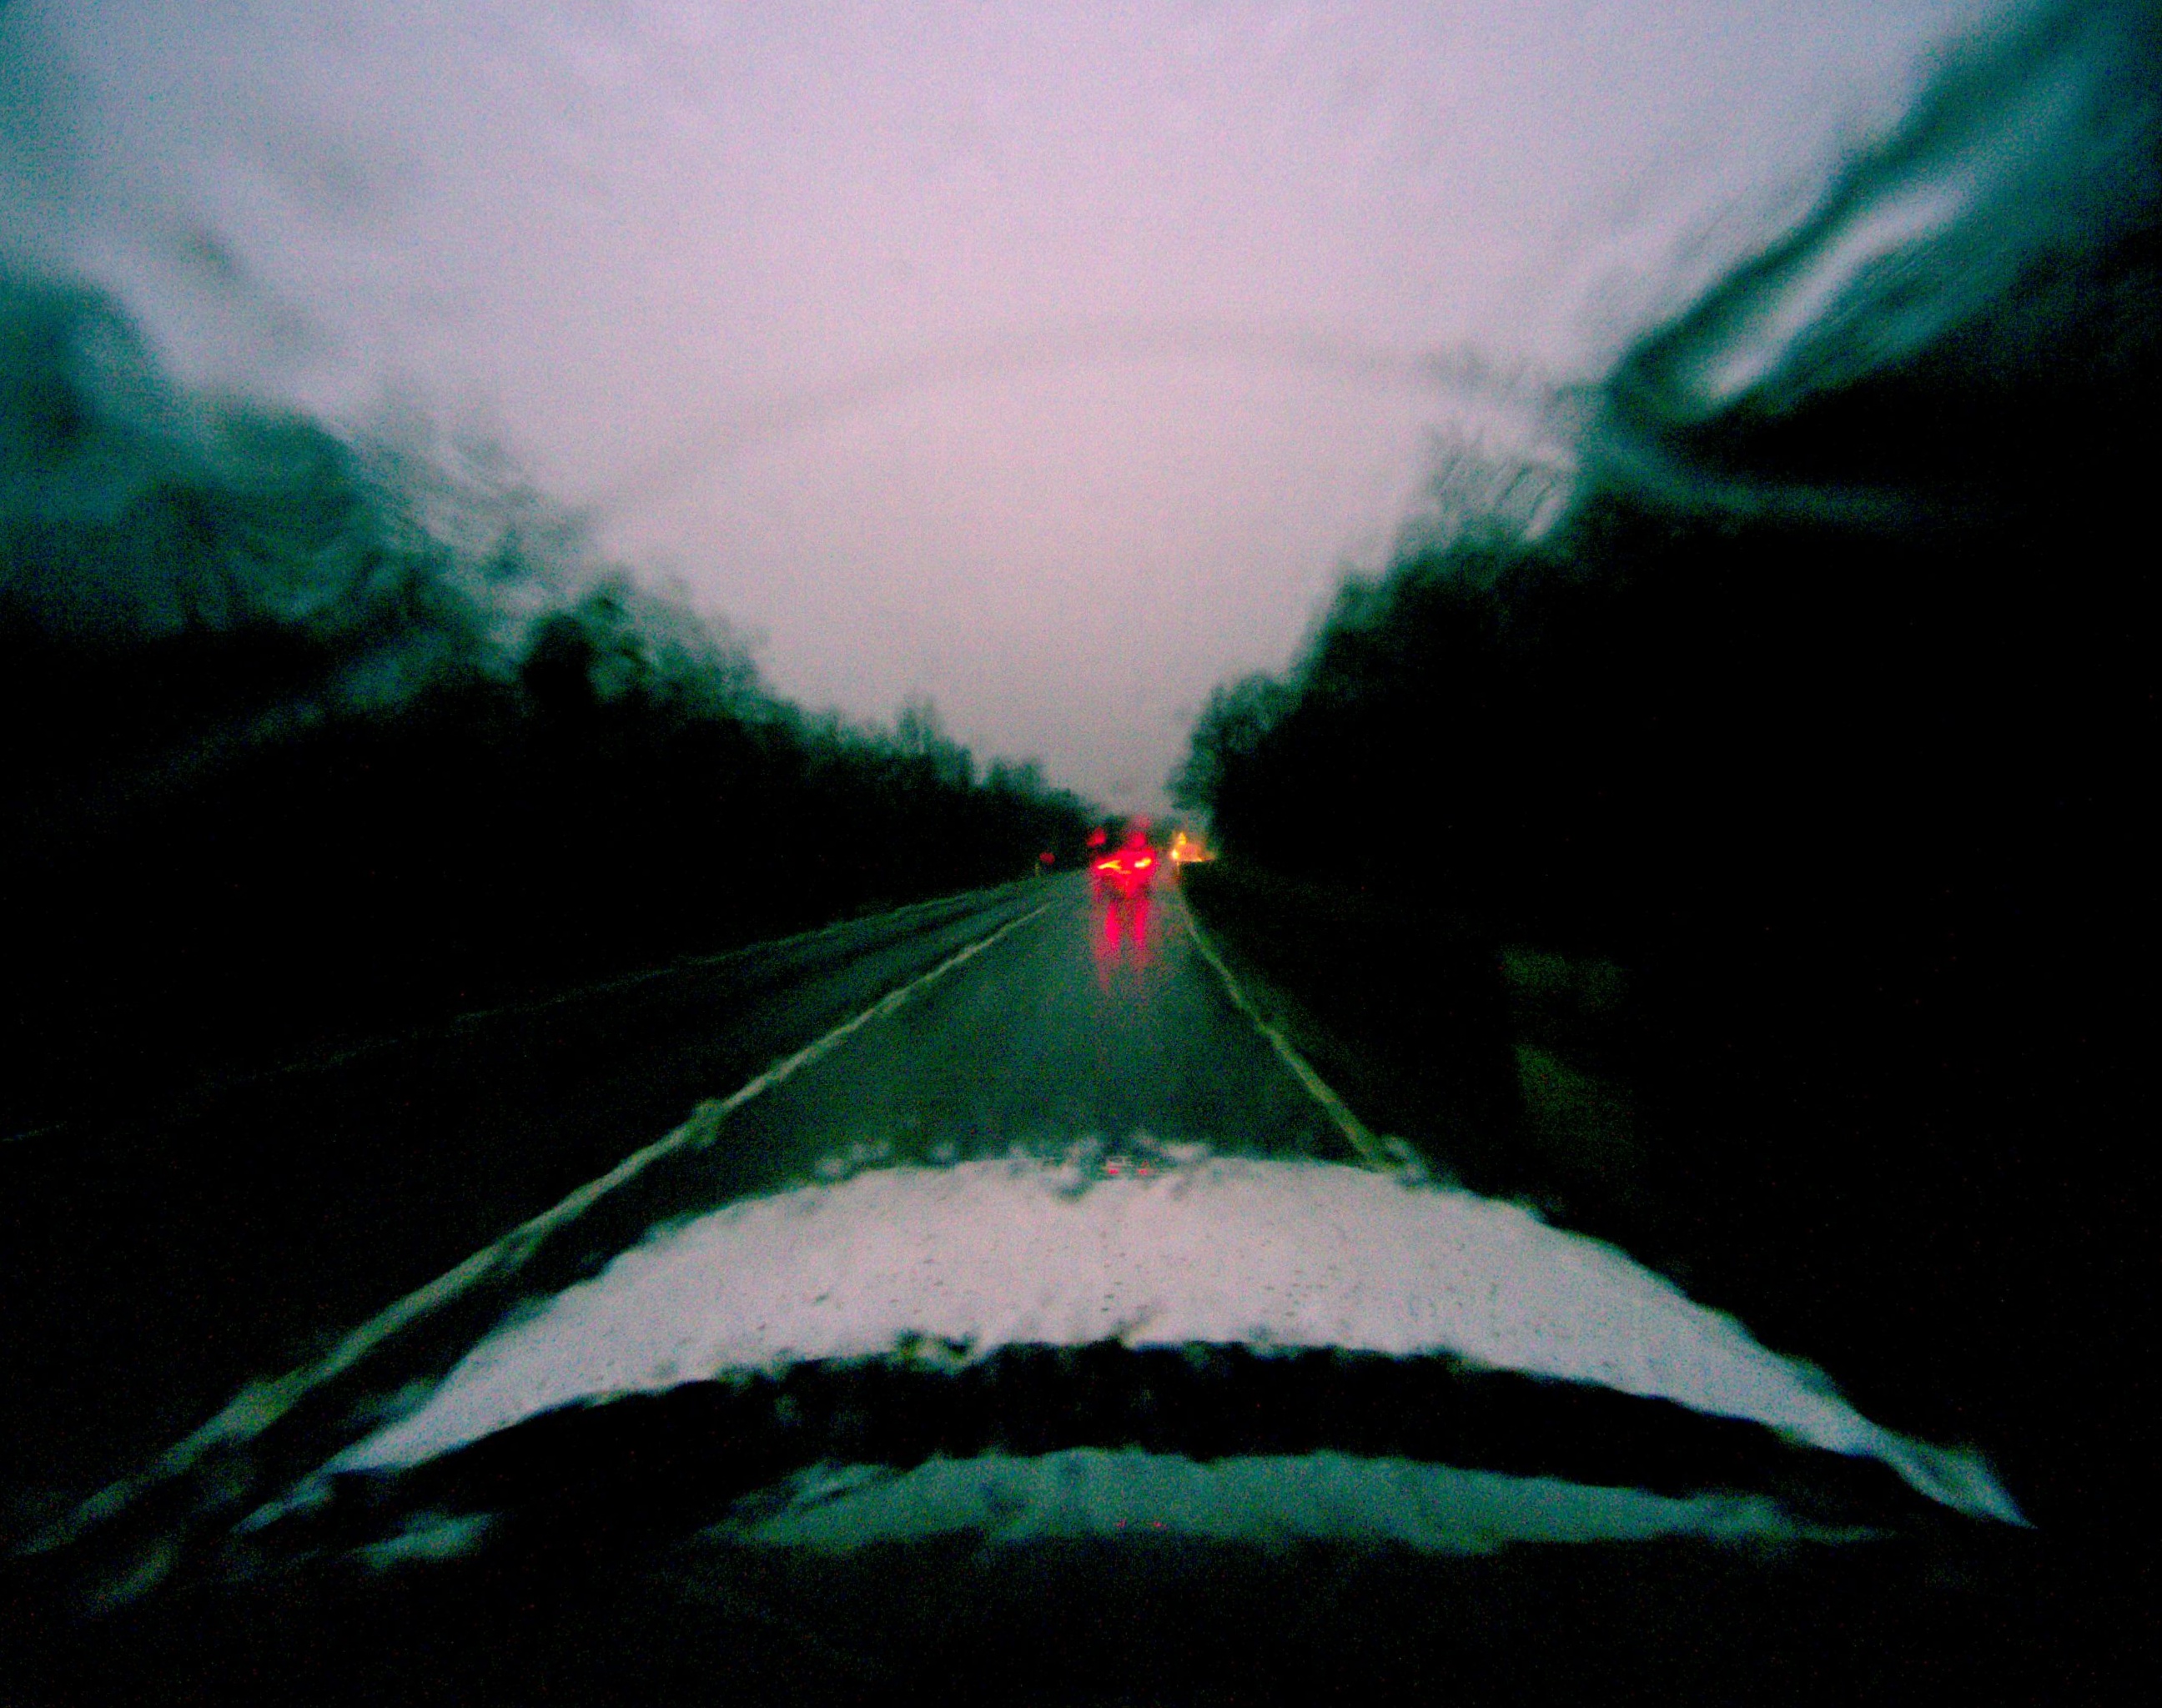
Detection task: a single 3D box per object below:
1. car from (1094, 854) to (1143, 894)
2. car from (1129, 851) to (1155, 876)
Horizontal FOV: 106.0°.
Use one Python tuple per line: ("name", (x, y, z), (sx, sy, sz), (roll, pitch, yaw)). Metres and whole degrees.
("car", (1.523, 0.725, 31.604), (1.671, 1.389, 4.104), (-2, 0, 5))
("car", (4.309, 0.649, 57.378), (1.671, 1.675, 4.103), (-2, 0, 4))
